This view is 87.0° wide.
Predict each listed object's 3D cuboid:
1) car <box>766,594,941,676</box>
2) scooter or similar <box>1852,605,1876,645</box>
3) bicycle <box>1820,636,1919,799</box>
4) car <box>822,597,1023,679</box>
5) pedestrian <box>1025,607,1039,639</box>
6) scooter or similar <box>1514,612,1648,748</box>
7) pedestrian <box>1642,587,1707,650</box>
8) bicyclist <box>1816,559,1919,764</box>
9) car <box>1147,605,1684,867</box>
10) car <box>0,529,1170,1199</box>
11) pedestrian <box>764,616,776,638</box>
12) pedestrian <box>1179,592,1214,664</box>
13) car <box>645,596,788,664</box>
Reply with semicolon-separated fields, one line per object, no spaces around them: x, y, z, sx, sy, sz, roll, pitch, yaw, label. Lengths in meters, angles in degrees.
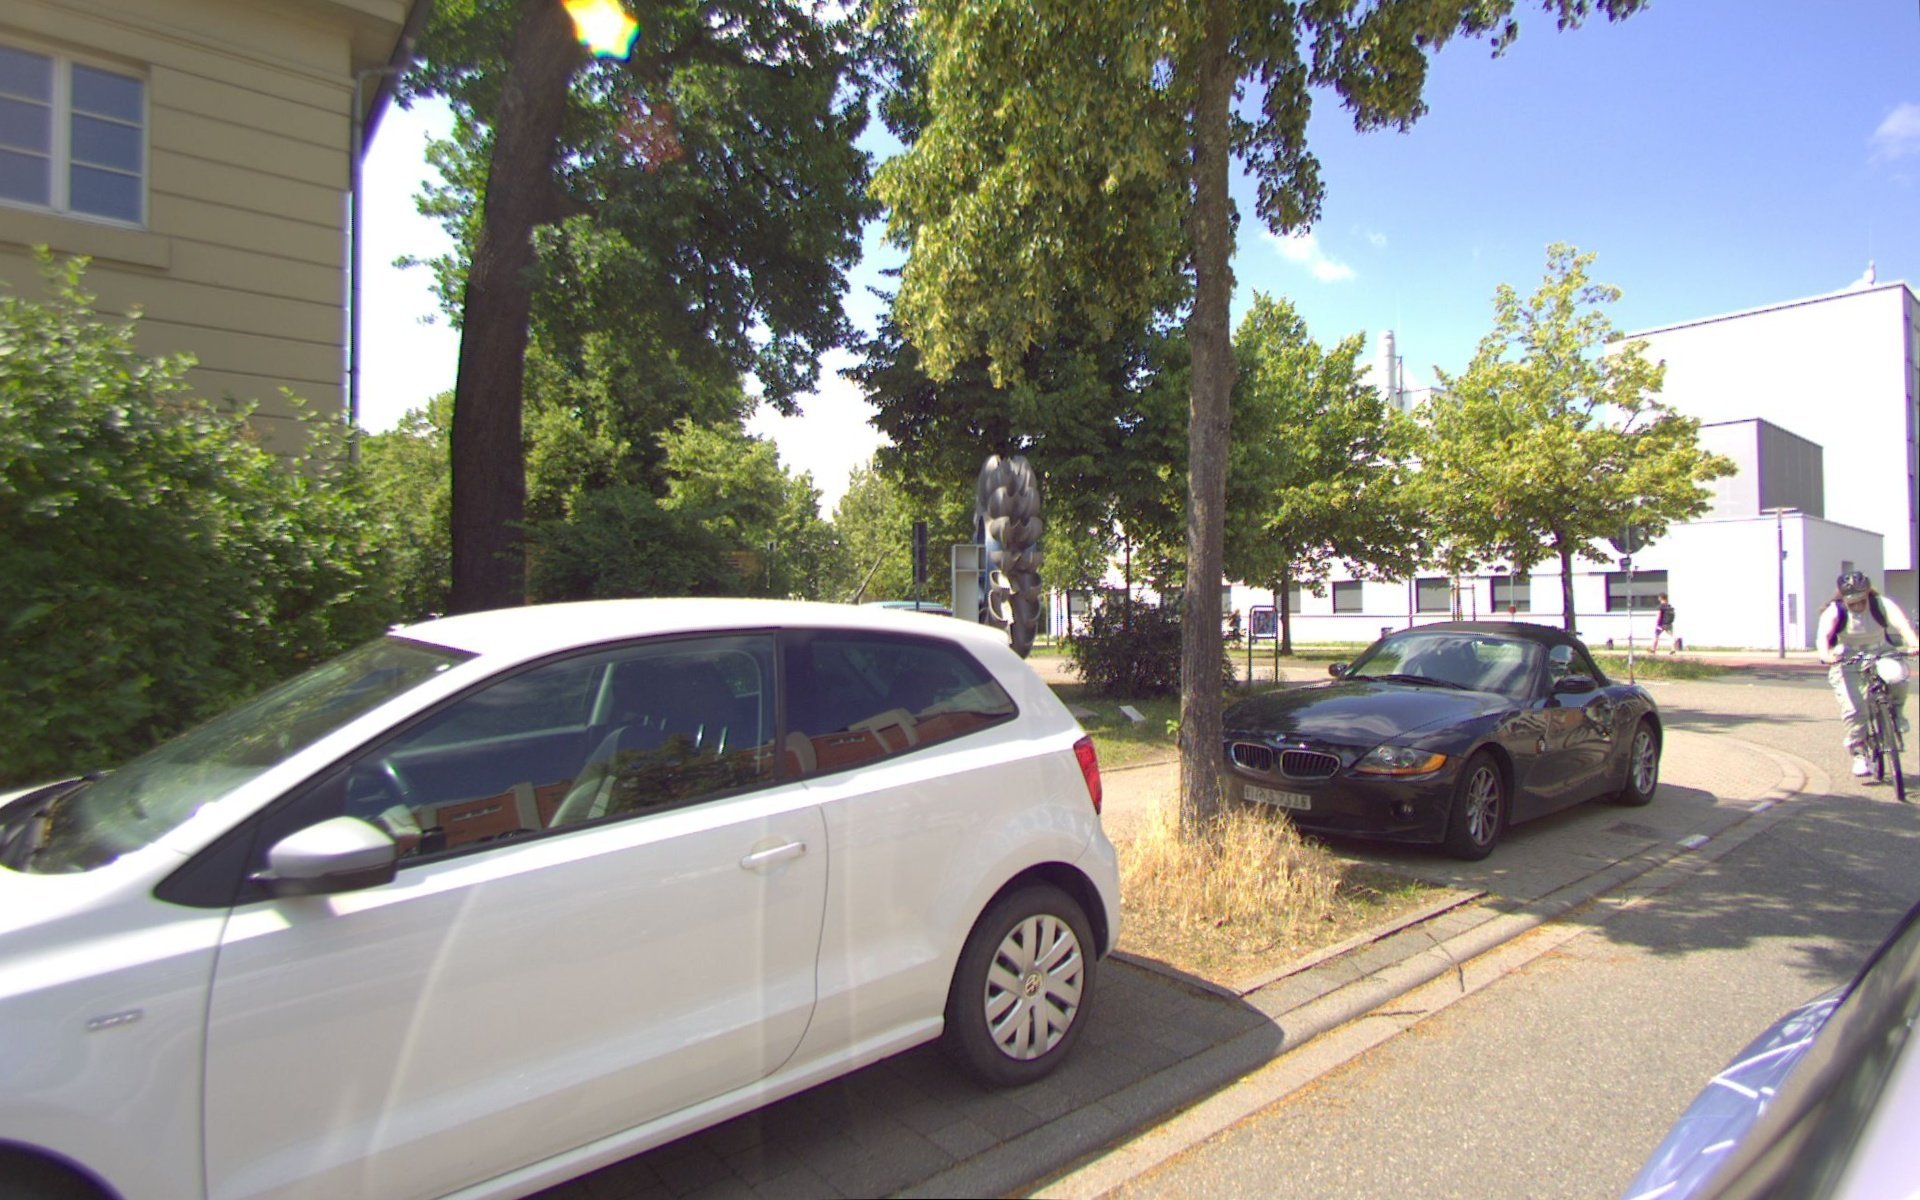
-2.561;0.804;24.774;3.929;1.861;1.821;0;-1;-41;car
28.468;0.786;31.868;1.053;1.252;0.327;0;-2;-36;scooter or similar
7.278;0.858;8.007;0.672;1.086;2.105;-1;-1;39;bicycle
-0.776;0.828;22.678;4.285;1.673;1.892;1;-2;-41;car
3.904;1.247;54.753;0.713;1.678;0.715;-1;-1;2;pedestrian
6.272;0.769;10.205;1.354;1.270;0.555;0;-1;-31;scooter or similar
21.245;0.534;30.117;1.000;1.823;1.173;1;0;-10;pedestrian
7.158;0.440;7.897;0.672;1.497;1.048;-2;0;39;bicyclist
3.260;0.698;6.941;3.926;1.297;1.712;0;-1;-38;car
-1.294;0.634;2.703;3.920;1.485;1.589;-1;0;-41;car
-15.373;2.198;81.800;0.782;1.744;0.634;1;-2;-40;pedestrian
5.931;0.697;25.383;0.630;1.767;0.582;0;-2;-37;pedestrian
-7.700;0.905;32.157;3.978;2.039;1.998;0;-1;-38;car
